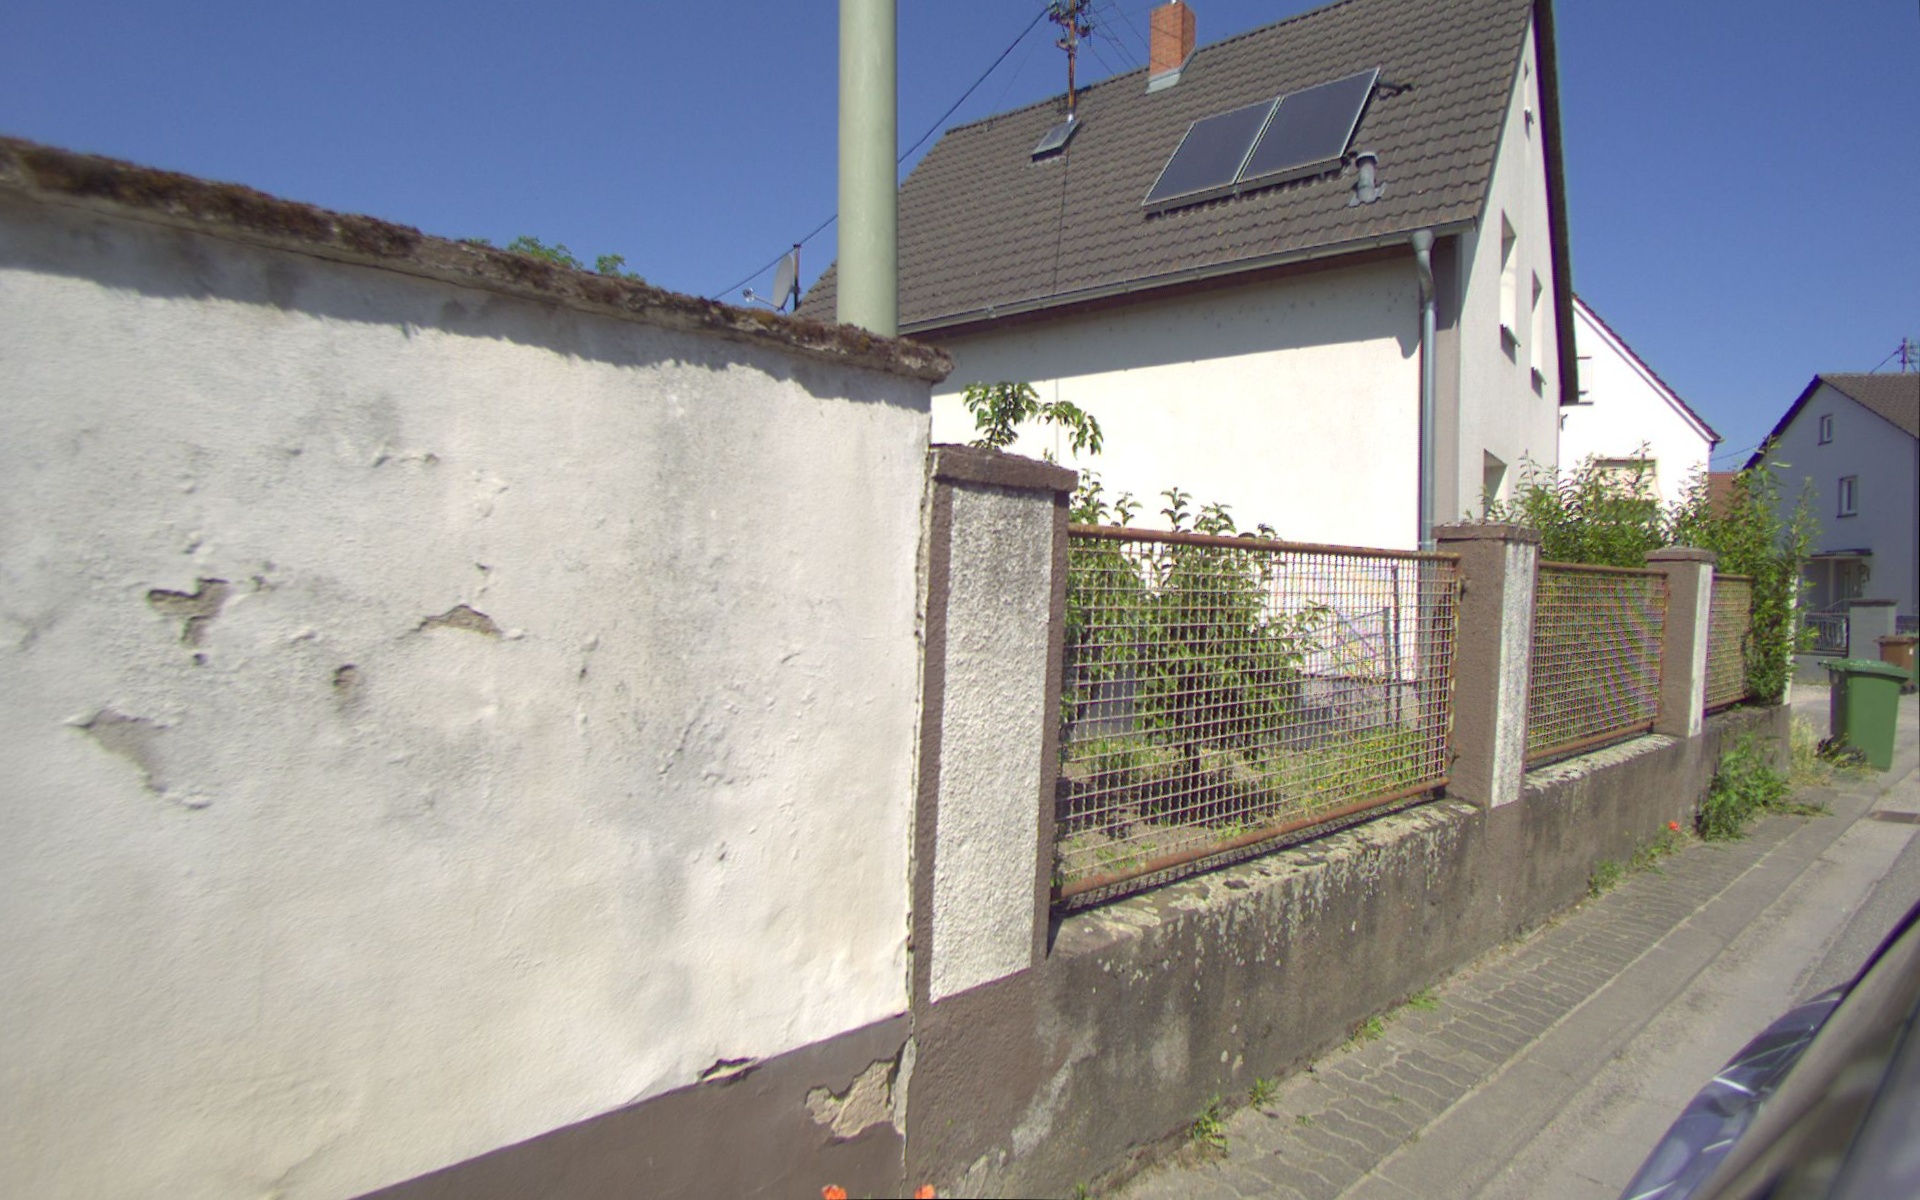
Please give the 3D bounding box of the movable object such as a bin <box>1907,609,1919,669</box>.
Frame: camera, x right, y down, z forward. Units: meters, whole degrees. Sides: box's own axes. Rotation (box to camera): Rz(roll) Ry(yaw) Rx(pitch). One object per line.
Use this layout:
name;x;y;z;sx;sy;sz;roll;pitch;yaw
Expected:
movable object such as a bin;16.204;0.643;16.906;0.486;0.989;0.505;0;0;-41

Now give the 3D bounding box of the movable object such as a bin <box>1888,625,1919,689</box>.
movable object such as a bin;15.343;0.913;16.328;0.425;0.989;0.505;0;0;-40

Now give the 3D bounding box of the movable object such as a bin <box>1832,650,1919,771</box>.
movable object such as a bin;8.094;0.952;8.885;0.546;0.989;0.429;1;0;25
